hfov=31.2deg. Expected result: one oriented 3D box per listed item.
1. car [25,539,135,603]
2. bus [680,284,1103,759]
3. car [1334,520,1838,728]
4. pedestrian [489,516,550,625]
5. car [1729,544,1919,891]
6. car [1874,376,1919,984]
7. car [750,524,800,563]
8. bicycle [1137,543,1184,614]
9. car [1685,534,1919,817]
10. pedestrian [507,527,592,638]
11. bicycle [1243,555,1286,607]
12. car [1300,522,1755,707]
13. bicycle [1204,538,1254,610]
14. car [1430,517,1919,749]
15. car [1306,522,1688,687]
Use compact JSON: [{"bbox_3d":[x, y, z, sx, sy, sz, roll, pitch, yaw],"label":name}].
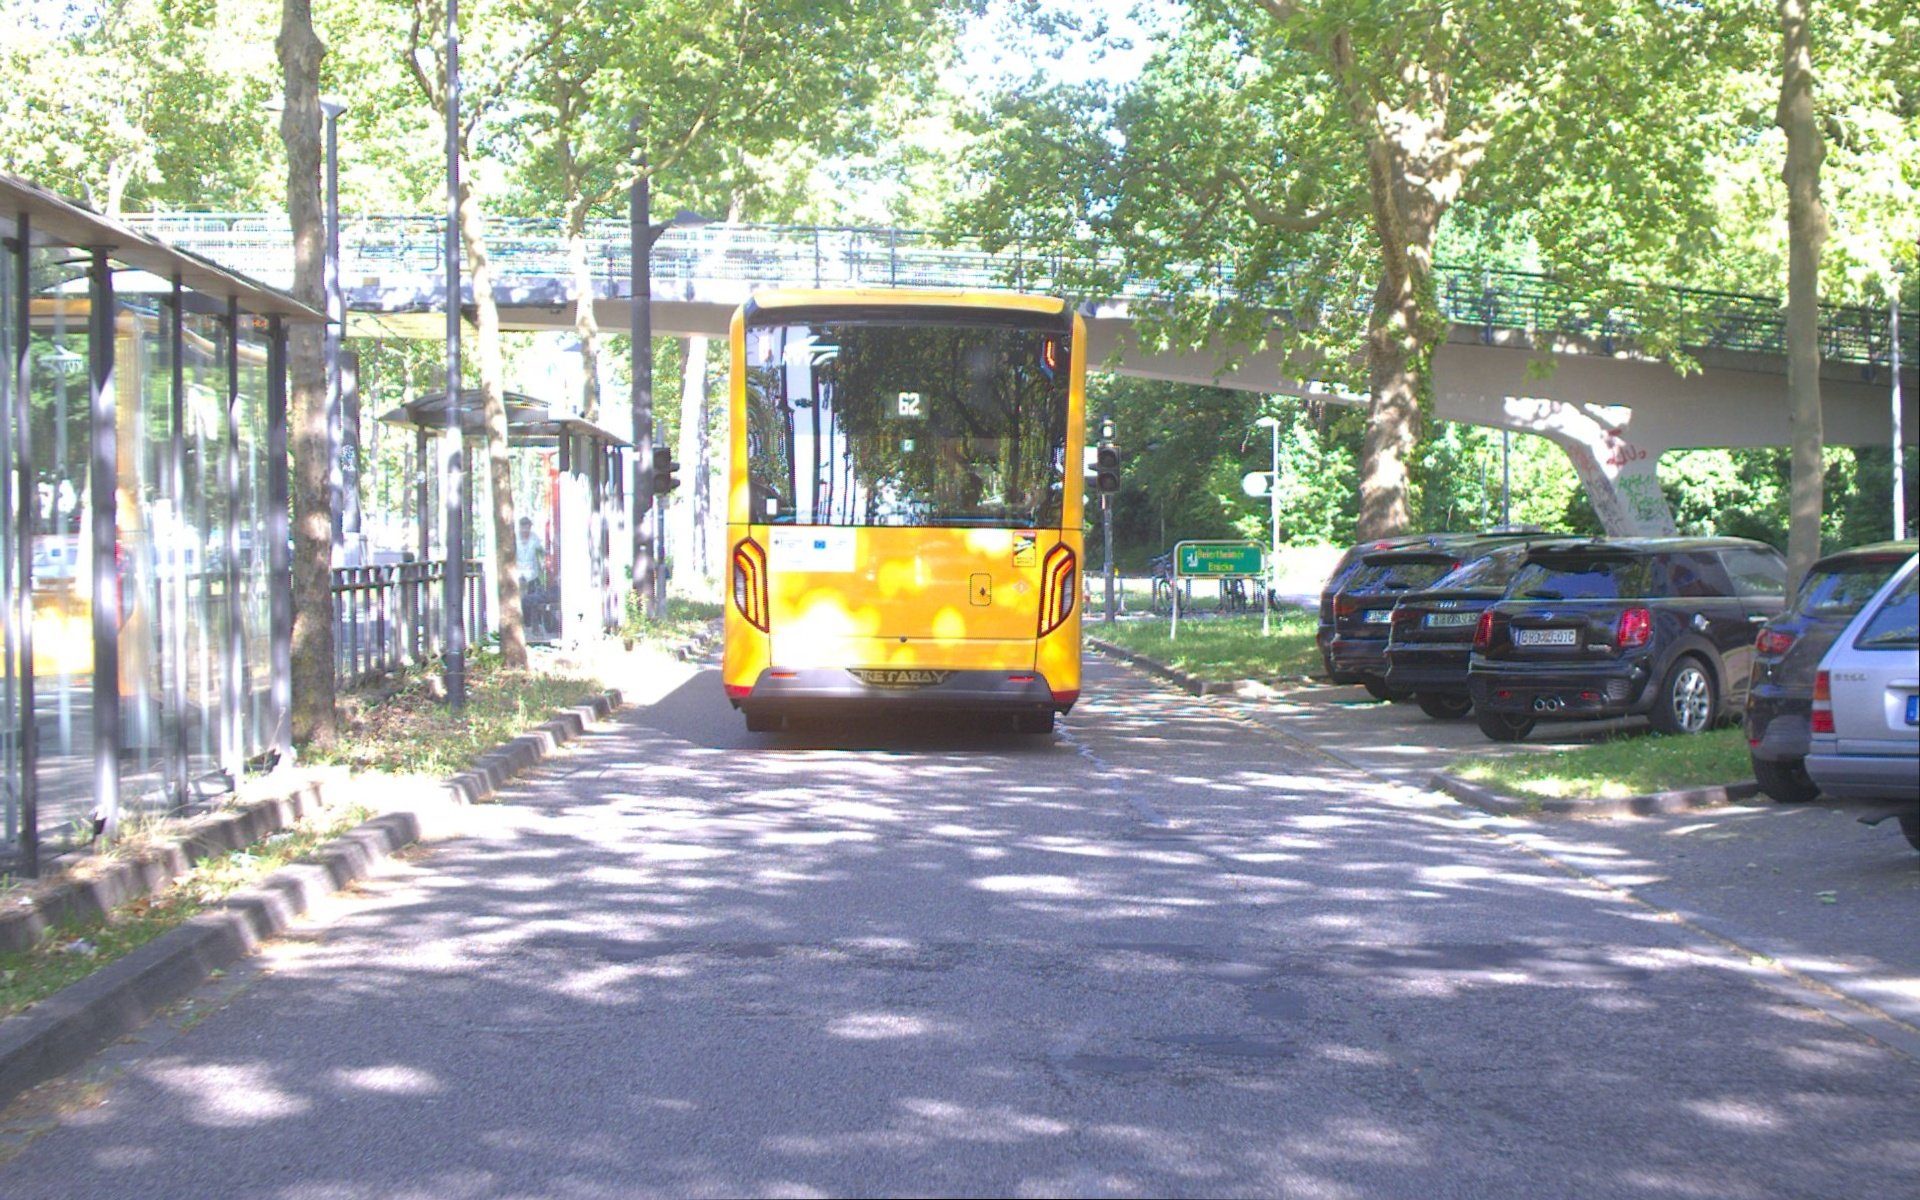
[{"bbox_3d":[-22.554,-0.761,88.231,1.794,1.575,4.288,0,1,-1],"label":"car"},{"bbox_3d":[-0.739,-0.648,29.763,2.899,3.255,12.219,0,1,-3],"label":"bus"},{"bbox_3d":[5.227,0.165,28.408,4.245,1.456,1.799,-4,1,-41],"label":"car"},{"bbox_3d":[-5.798,-0.394,45.233,0.724,1.412,0.682,1,1,-2],"label":"pedestrian"},{"bbox_3d":[5.663,0.396,15.860,4.578,1.418,1.799,-4,1,-43],"label":"car"},{"bbox_3d":[5.514,0.151,12.400,4.577,2.045,2.016,-4,1,-41],"label":"car"},{"bbox_3d":[-8.335,-2.568,154.989,1.986,1.637,4.134,2,2,0],"label":"car"},{"bbox_3d":[3.526,-0.393,60.619,0.590,1.178,1.800,-4,2,-2],"label":"bicycle"},{"bbox_3d":[5.966,0.325,19.273,3.913,1.412,1.799,-4,1,-44],"label":"car"},{"bbox_3d":[-4.674,-0.203,39.181,0.855,1.239,0.850,1,1,0],"label":"pedestrian"},{"bbox_3d":[5.346,-0.337,60.420,0.505,0.849,1.474,-4,2,-2],"label":"bicycle"},{"bbox_3d":[5.259,0.107,31.556,4.245,1.456,1.799,-4,1,-42],"label":"car"},{"bbox_3d":[4.715,-0.463,60.397,0.590,1.178,1.800,-4,2,-2],"label":"bicycle"},{"bbox_3d":[5.441,0.204,25.369,3.990,1.463,1.781,-4,1,-44],"label":"car"},{"bbox_3d":[5.493,0.029,34.858,1.799,1.456,3.990,-2,1,44],"label":"car"}]
